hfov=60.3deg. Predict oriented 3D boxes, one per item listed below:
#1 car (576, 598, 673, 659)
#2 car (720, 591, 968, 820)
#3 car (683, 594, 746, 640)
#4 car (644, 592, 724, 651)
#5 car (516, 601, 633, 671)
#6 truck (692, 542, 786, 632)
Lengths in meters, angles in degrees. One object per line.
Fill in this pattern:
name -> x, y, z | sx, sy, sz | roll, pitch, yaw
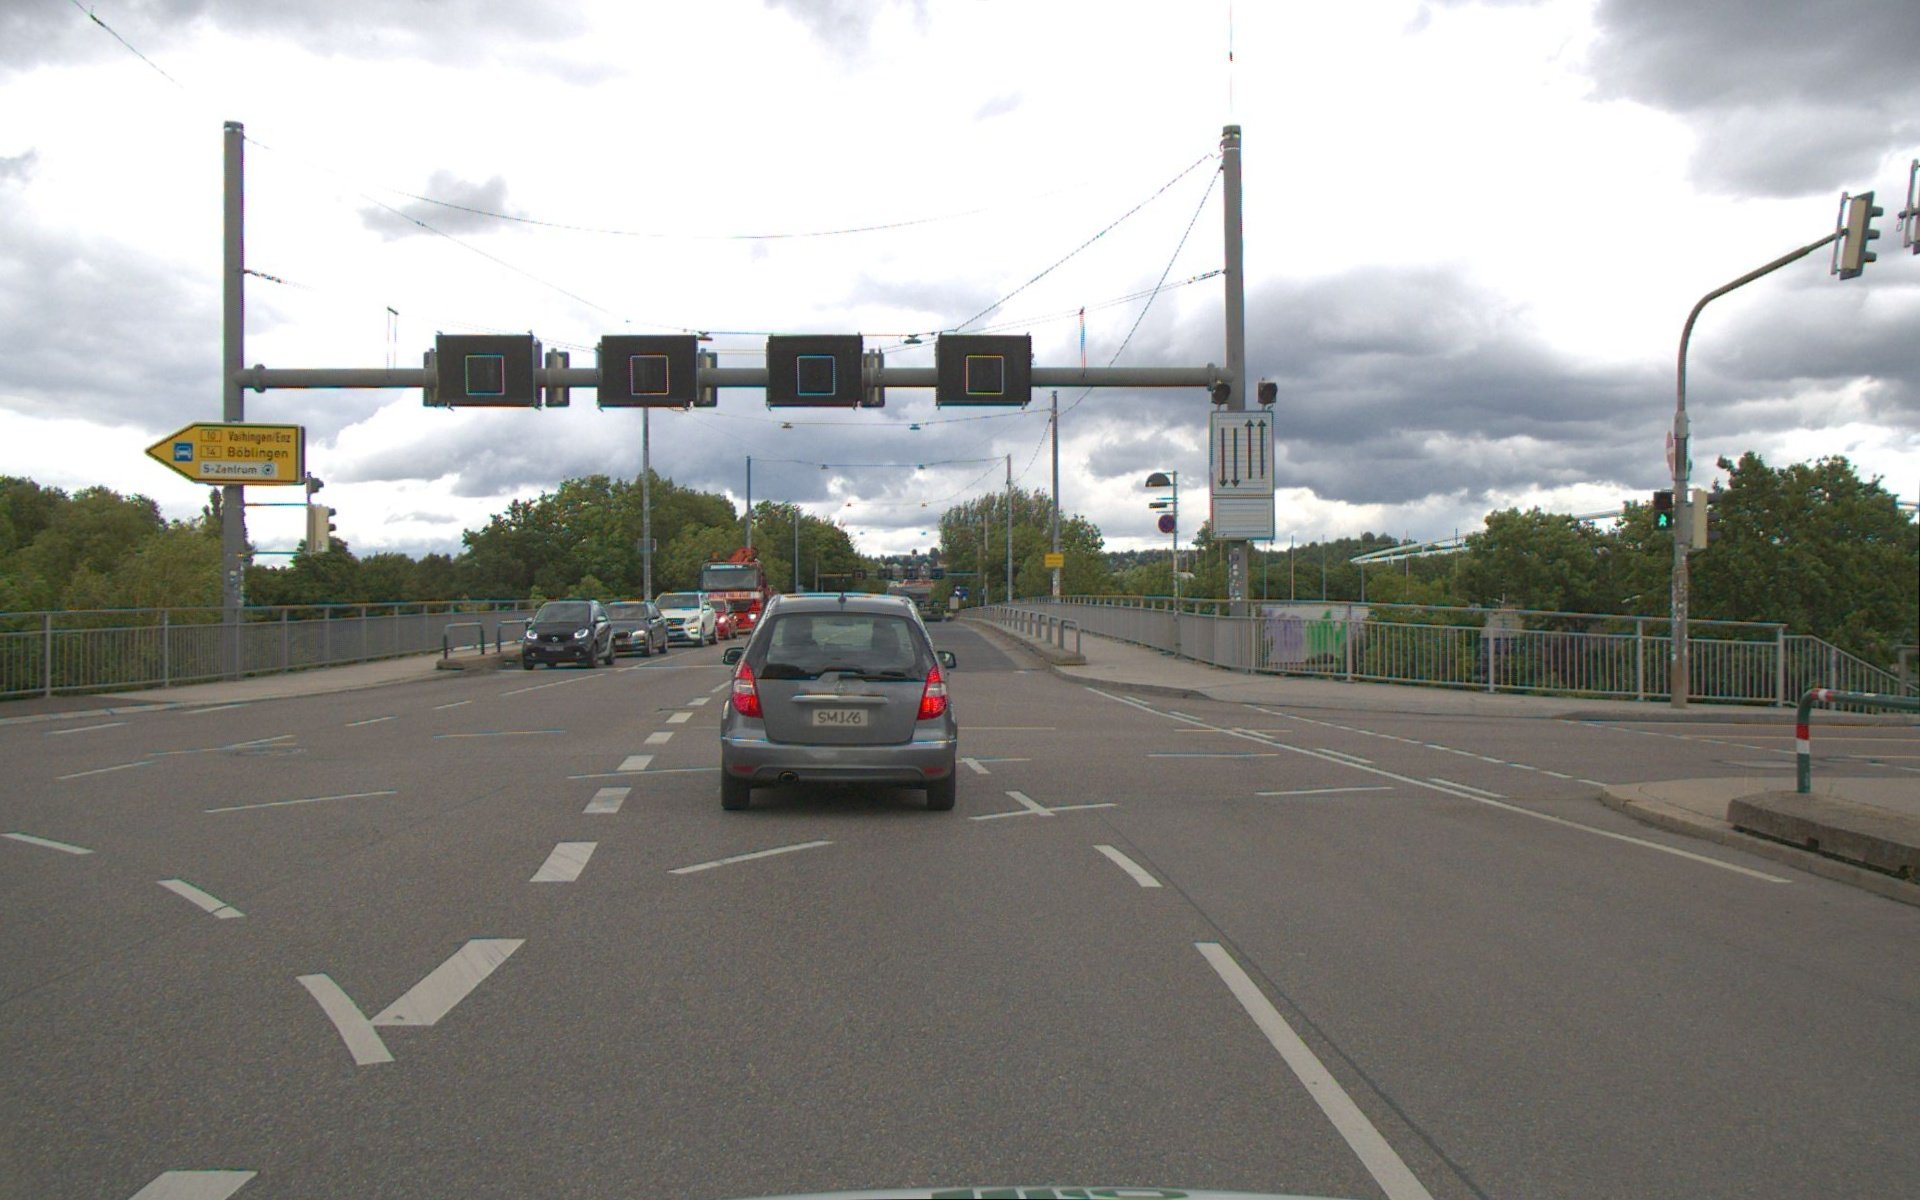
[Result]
car -> -9.145, 0.732, 45.404 | 1.798, 1.530, 4.515 | -2, 0, -1
car -> -0.851, 0.729, 13.399 | 1.710, 1.577, 3.870 | 0, 0, -2
car -> -9.195, 0.612, 62.256 | 1.842, 1.631, 4.014 | -2, 0, -1
car -> -8.918, 0.662, 53.748 | 1.842, 1.792, 4.801 | -2, 0, -1
car -> -9.057, 0.807, 39.172 | 1.798, 1.530, 3.871 | -2, 0, 1
truck -> -9.612, -0.530, 73.063 | 2.945, 3.628, 9.979 | -1, 0, -1
